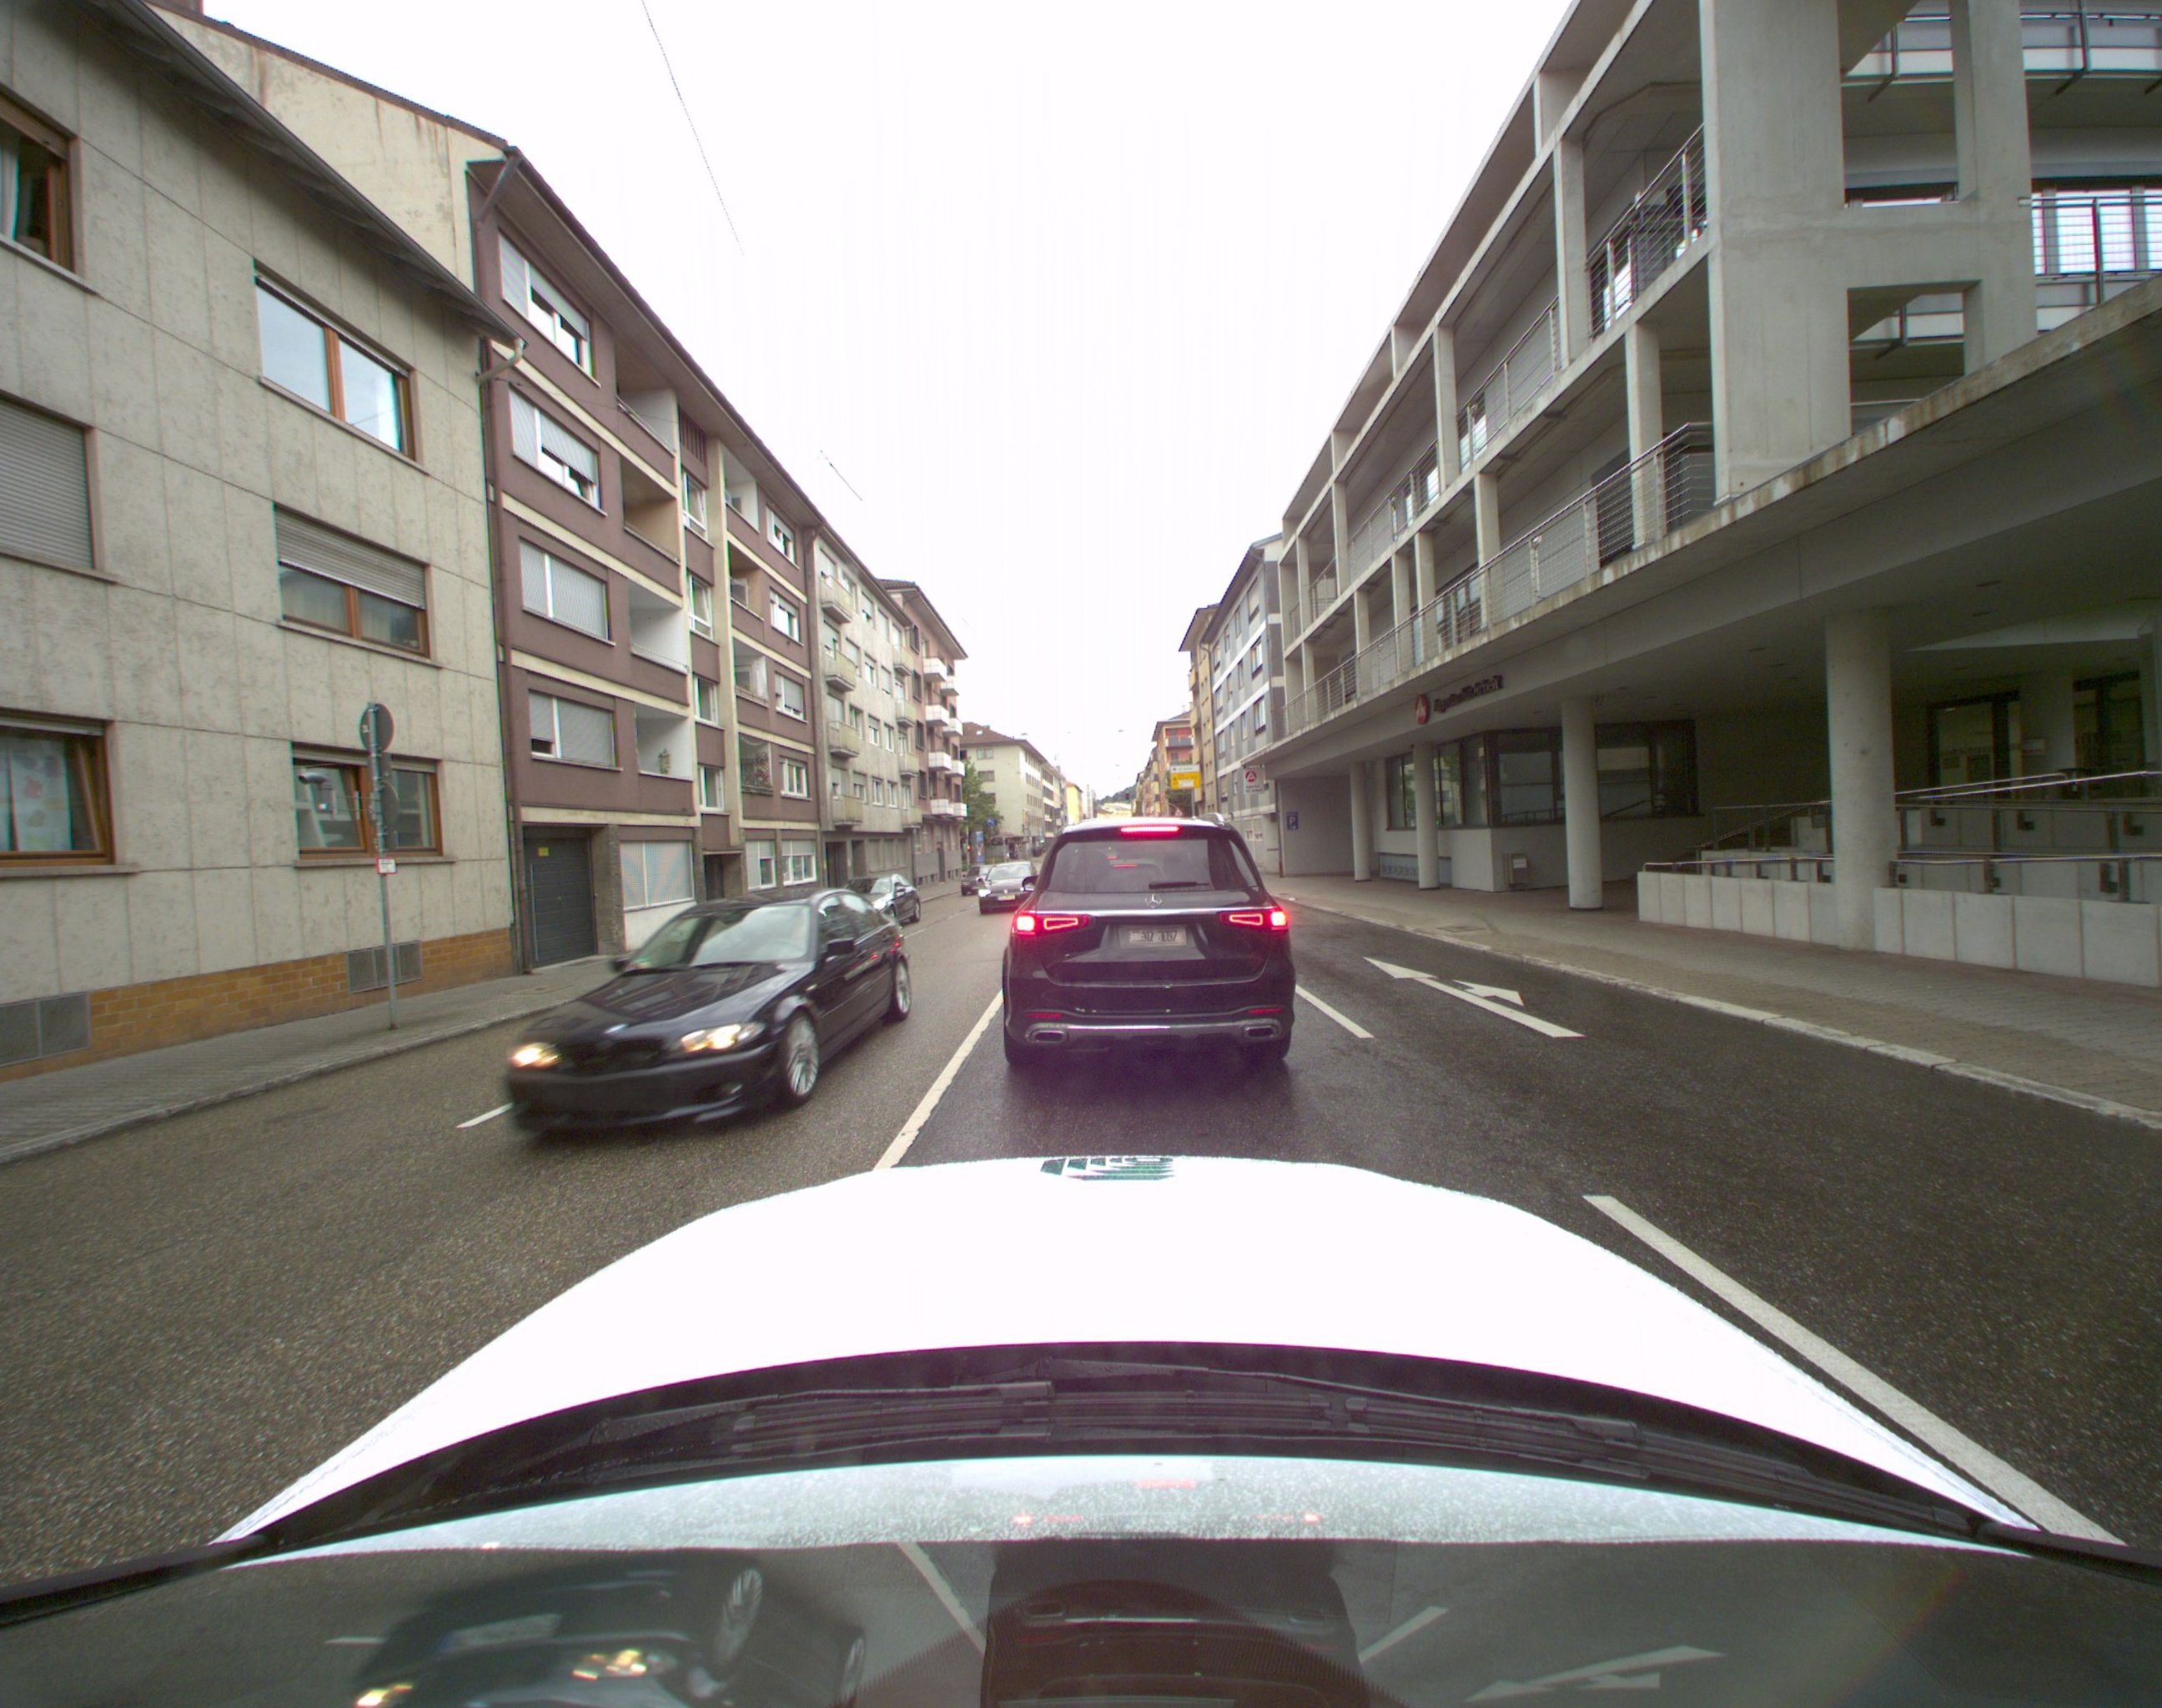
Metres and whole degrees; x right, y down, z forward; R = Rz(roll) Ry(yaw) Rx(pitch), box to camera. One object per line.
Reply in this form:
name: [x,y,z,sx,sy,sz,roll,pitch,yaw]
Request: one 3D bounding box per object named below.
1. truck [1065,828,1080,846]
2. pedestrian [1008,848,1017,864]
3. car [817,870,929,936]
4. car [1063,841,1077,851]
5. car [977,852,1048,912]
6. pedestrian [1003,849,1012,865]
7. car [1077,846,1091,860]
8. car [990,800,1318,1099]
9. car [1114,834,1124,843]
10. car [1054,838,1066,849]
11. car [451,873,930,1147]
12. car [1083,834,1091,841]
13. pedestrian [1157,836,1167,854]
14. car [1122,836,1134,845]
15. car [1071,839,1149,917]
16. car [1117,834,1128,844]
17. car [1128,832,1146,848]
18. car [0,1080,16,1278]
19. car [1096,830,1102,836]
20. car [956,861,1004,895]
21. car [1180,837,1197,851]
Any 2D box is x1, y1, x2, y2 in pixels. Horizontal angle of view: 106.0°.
truck: [-1.597,-3.171,157.365,2.472,3.046,9.917,-4,-1,0]
pedestrian: [-8.610,0.285,102.423,0.920,1.902,0.706,-3,0,0]
car: [-5.346,1.204,21.489,1.689,1.370,4.366,-5,-1,0]
car: [-1.572,-1.228,120.127,1.879,1.264,4.216,-4,-1,0]
car: [-2.074,0.841,25.730,1.689,1.580,4.218,-5,-1,1]
pedestrian: [-8.417,0.358,93.137,0.630,1.764,0.777,-3,0,18]
car: [0.383,-0.136,101.424,1.613,1.539,4.216,-4,-1,0]
car: [0.509,0.596,7.131,1.977,1.805,4.391,0,-1,2]
car: [8.062,-3.320,172.903,1.613,1.539,4.216,-4,-1,0]
car: [-3.386,-1.708,131.941,1.613,1.539,4.216,-4,-1,0]
car: [-2.614,0.936,6.728,1.688,1.370,4.220,-5,-1,2]
car: [1.457,-3.945,193.964,1.613,1.539,4.216,-4,-1,0]
pedestrian: [9.408,-1.055,94.765,0.920,2.013,0.706,-3,0,0]
car: [7.677,-2.191,133.251,1.613,1.387,4.216,-4,-1,0]
car: [0.666,0.582,20.952,1.746,1.731,4.216,-2,-1,0]
car: [7.364,-2.637,144.764,1.613,1.539,4.216,-4,-1,0]
car: [6.668,-1.669,97.725,1.718,1.759,4.216,-4,-1,0]
car: [-5.669,1.205,1.426,1.717,1.473,4.374,-5,0,0]
car: [5.555,-6.362,250.462,1.613,1.539,4.216,-4,-1,0]
car: [-4.849,1.128,39.655,1.593,1.370,4.362,-6,0,1]
car: [12.478,-1.158,94.532,1.664,1.588,3.334,-3,0,4]
